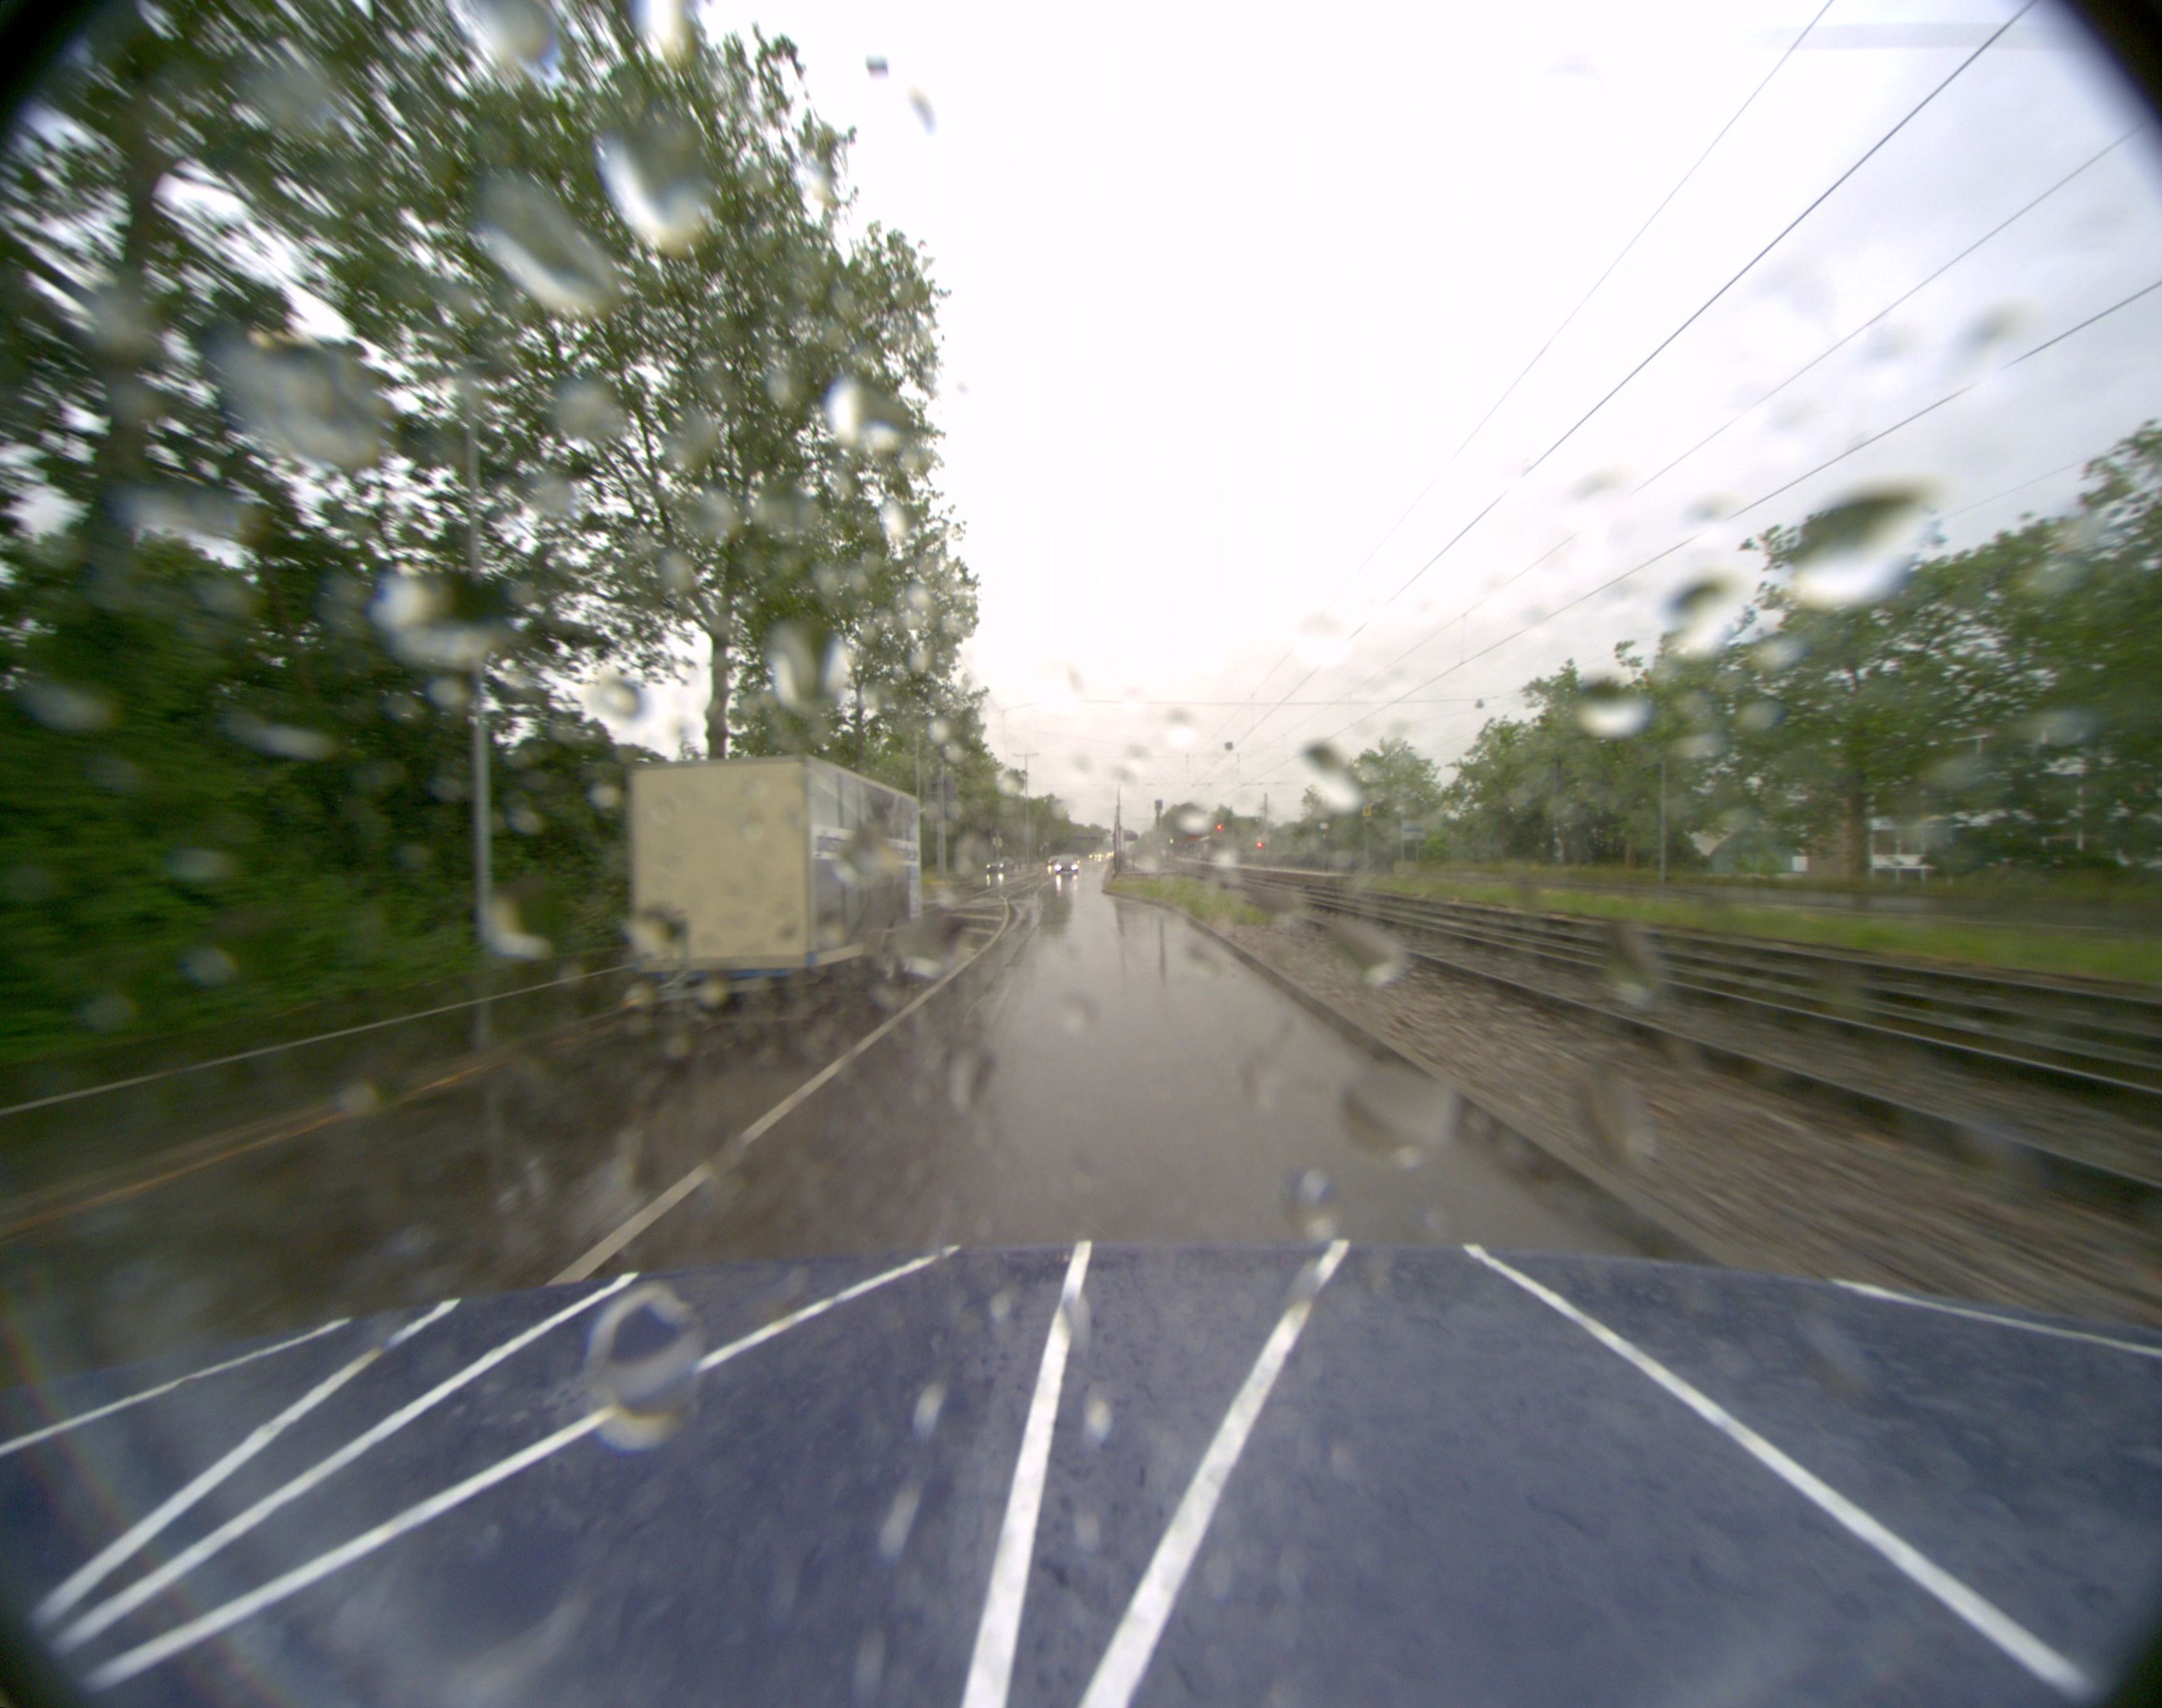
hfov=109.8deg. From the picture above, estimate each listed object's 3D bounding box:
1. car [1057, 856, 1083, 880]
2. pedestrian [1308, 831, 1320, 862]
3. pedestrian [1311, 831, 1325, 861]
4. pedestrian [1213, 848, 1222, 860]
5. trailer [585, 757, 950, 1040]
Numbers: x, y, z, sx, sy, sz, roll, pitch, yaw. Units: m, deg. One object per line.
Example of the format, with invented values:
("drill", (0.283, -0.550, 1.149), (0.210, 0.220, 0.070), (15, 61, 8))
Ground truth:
("car", (-0.977, 1.242, 67.693), (1.998, 2.002, 4.001), (-1, 0, 3))
("pedestrian", (29.937, -0.972, 97.660), (1.169, 4.006, 1.522), (-1, 2, 30))
("pedestrian", (31.386, -1.057, 100.556), (1.172, 4.006, 1.518), (-2, 1, -8))
("pedestrian", (15.177, -0.043, 84.481), (0.833, 1.309, 0.858), (-2, 1, 3))
("trailer", (-3.582, 0.411, 10.313), (2.170, 2.742, 5.677), (-2, 1, 4))
